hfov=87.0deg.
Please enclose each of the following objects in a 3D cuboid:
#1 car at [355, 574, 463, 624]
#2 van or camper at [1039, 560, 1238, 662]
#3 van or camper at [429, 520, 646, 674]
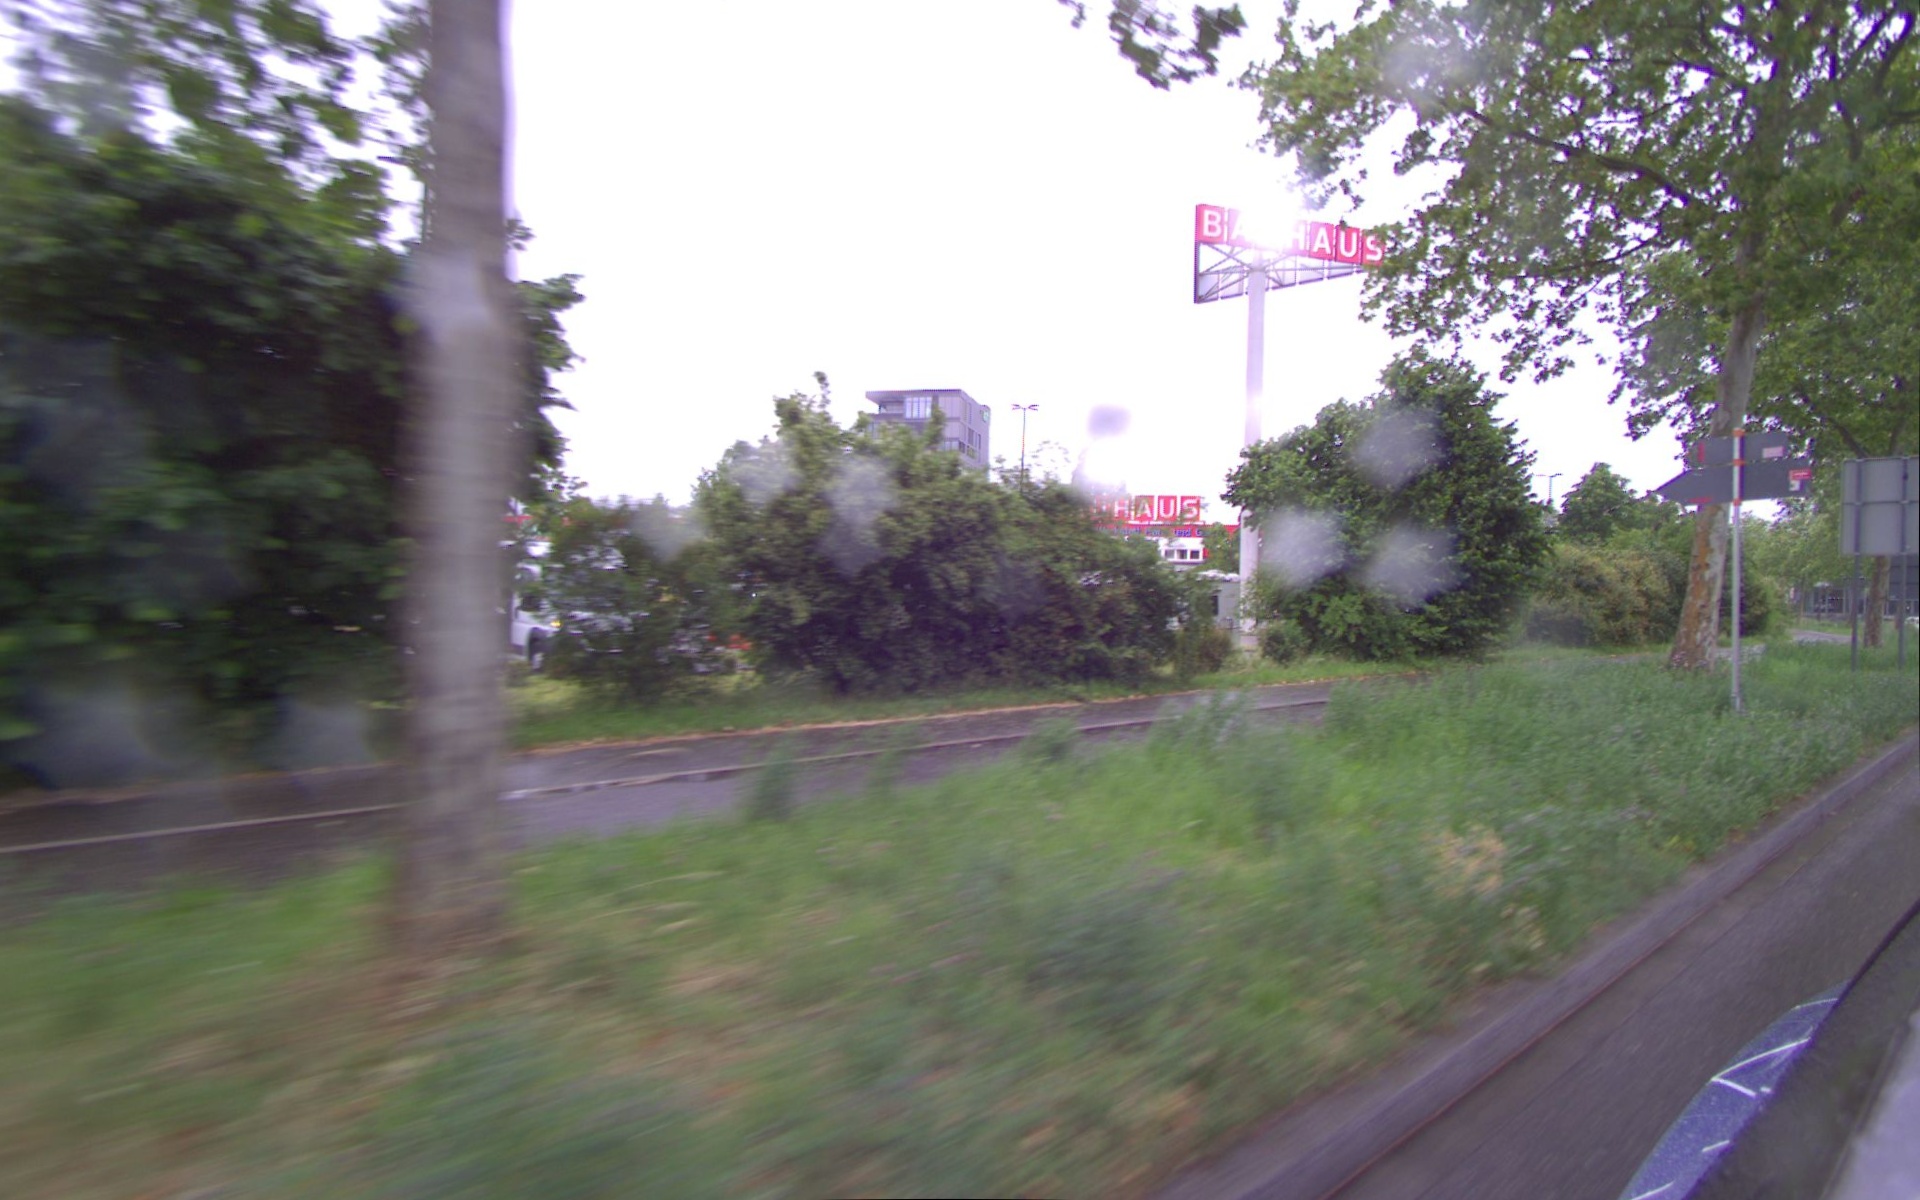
[{"bbox_3d":[-23.907,-0.054,44.082,1.872,2.039,4.056,0,0,15],"label":"car"},{"bbox_3d":[5.012,0.301,29.302,1.963,2.621,5.736,5,-3,-38],"label":"van or camper"},{"bbox_3d":[-8.511,-0.083,19.950,1.966,2.576,6.371,0,1,-42],"label":"van or camper"}]
